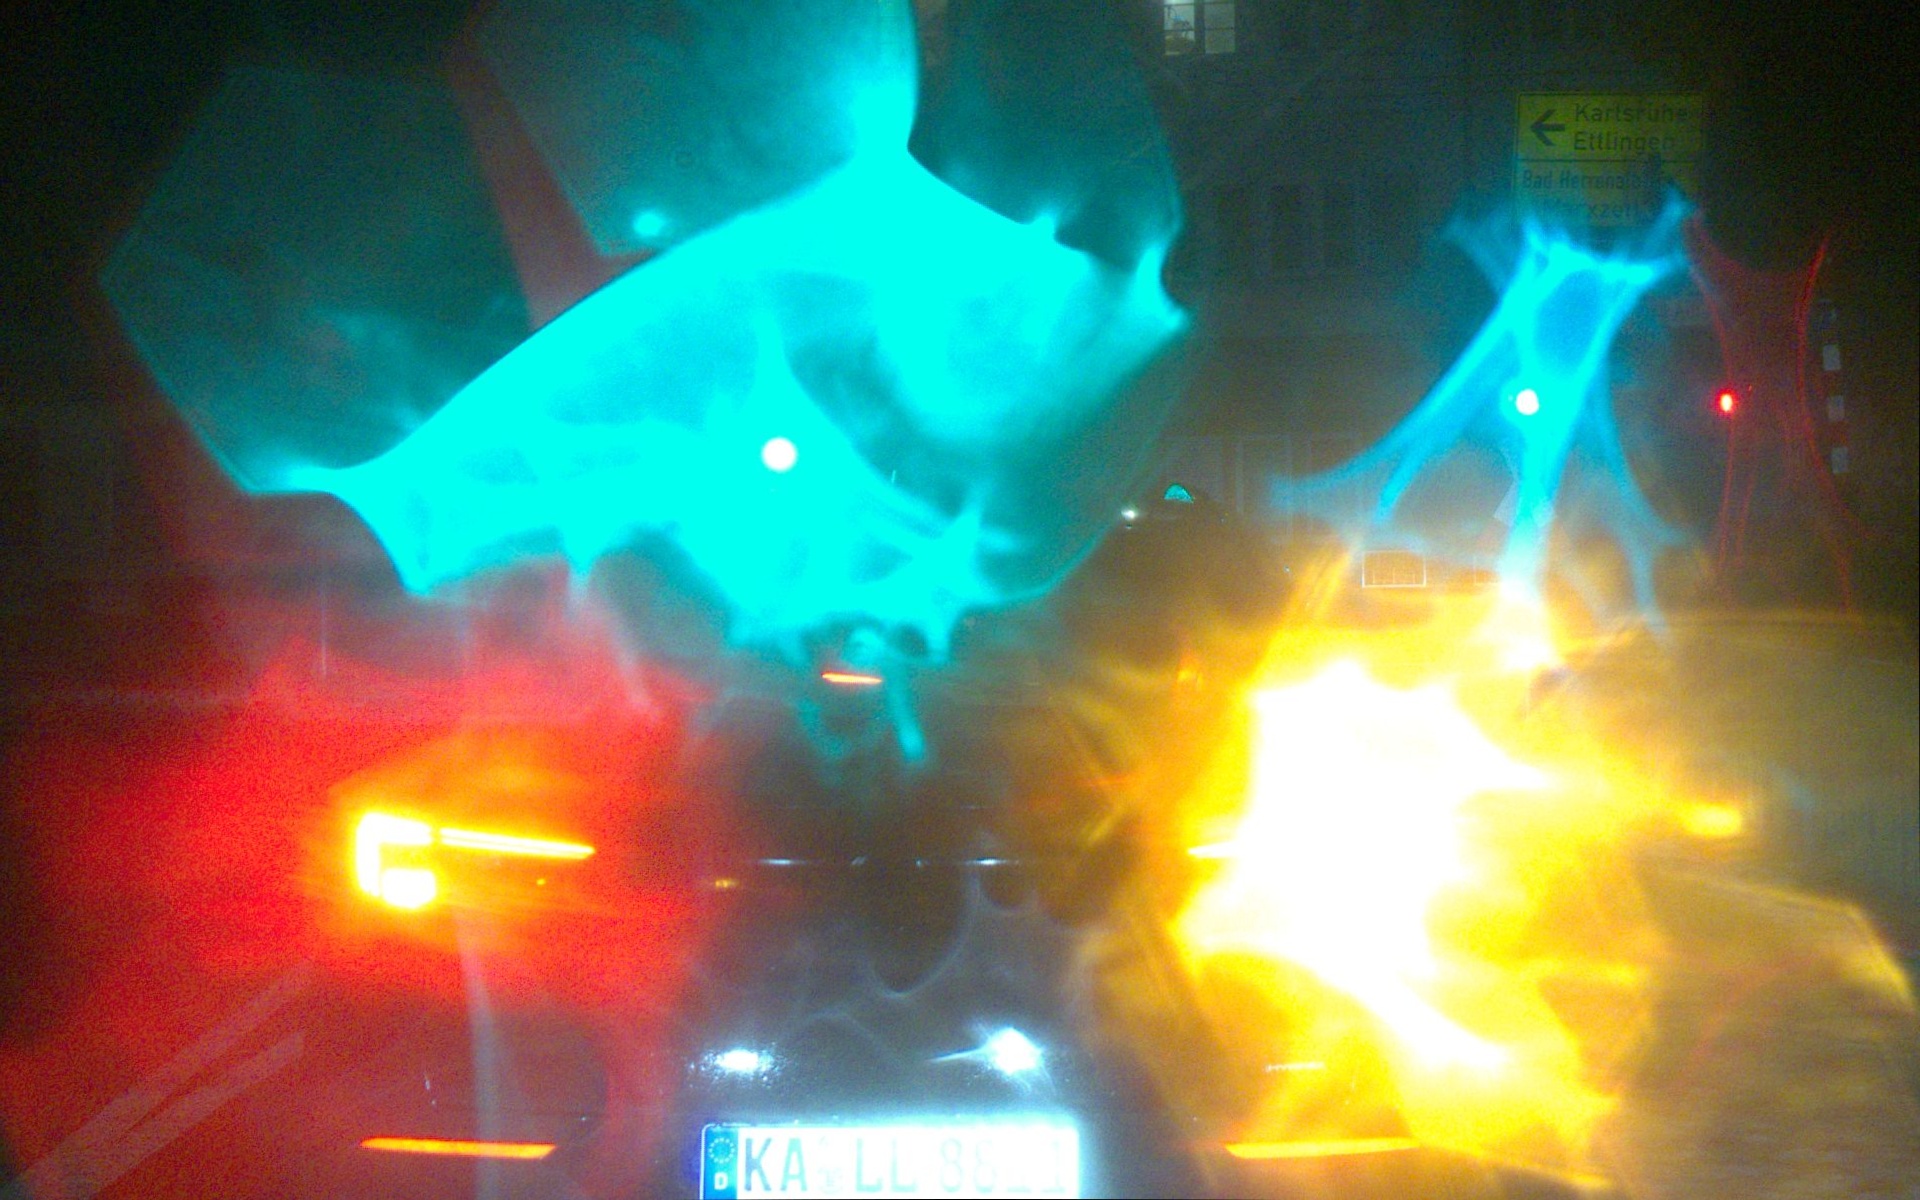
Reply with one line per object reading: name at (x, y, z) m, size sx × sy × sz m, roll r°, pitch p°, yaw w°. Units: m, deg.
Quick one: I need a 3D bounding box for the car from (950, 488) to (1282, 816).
car at (1.170, 0.255, 23.714) m, size 1.772 × 1.940 × 4.253 m, roll 4°, pitch 3°, yaw 8°

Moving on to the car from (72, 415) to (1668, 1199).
car at (-0.146, 0.587, 6.552) m, size 2.057 × 1.672 × 4.140 m, roll 1°, pitch 1°, yaw -1°

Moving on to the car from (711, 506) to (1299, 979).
car at (0.153, 0.427, 13.697) m, size 1.909 × 1.505 × 4.241 m, roll -3°, pitch 1°, yaw 0°
